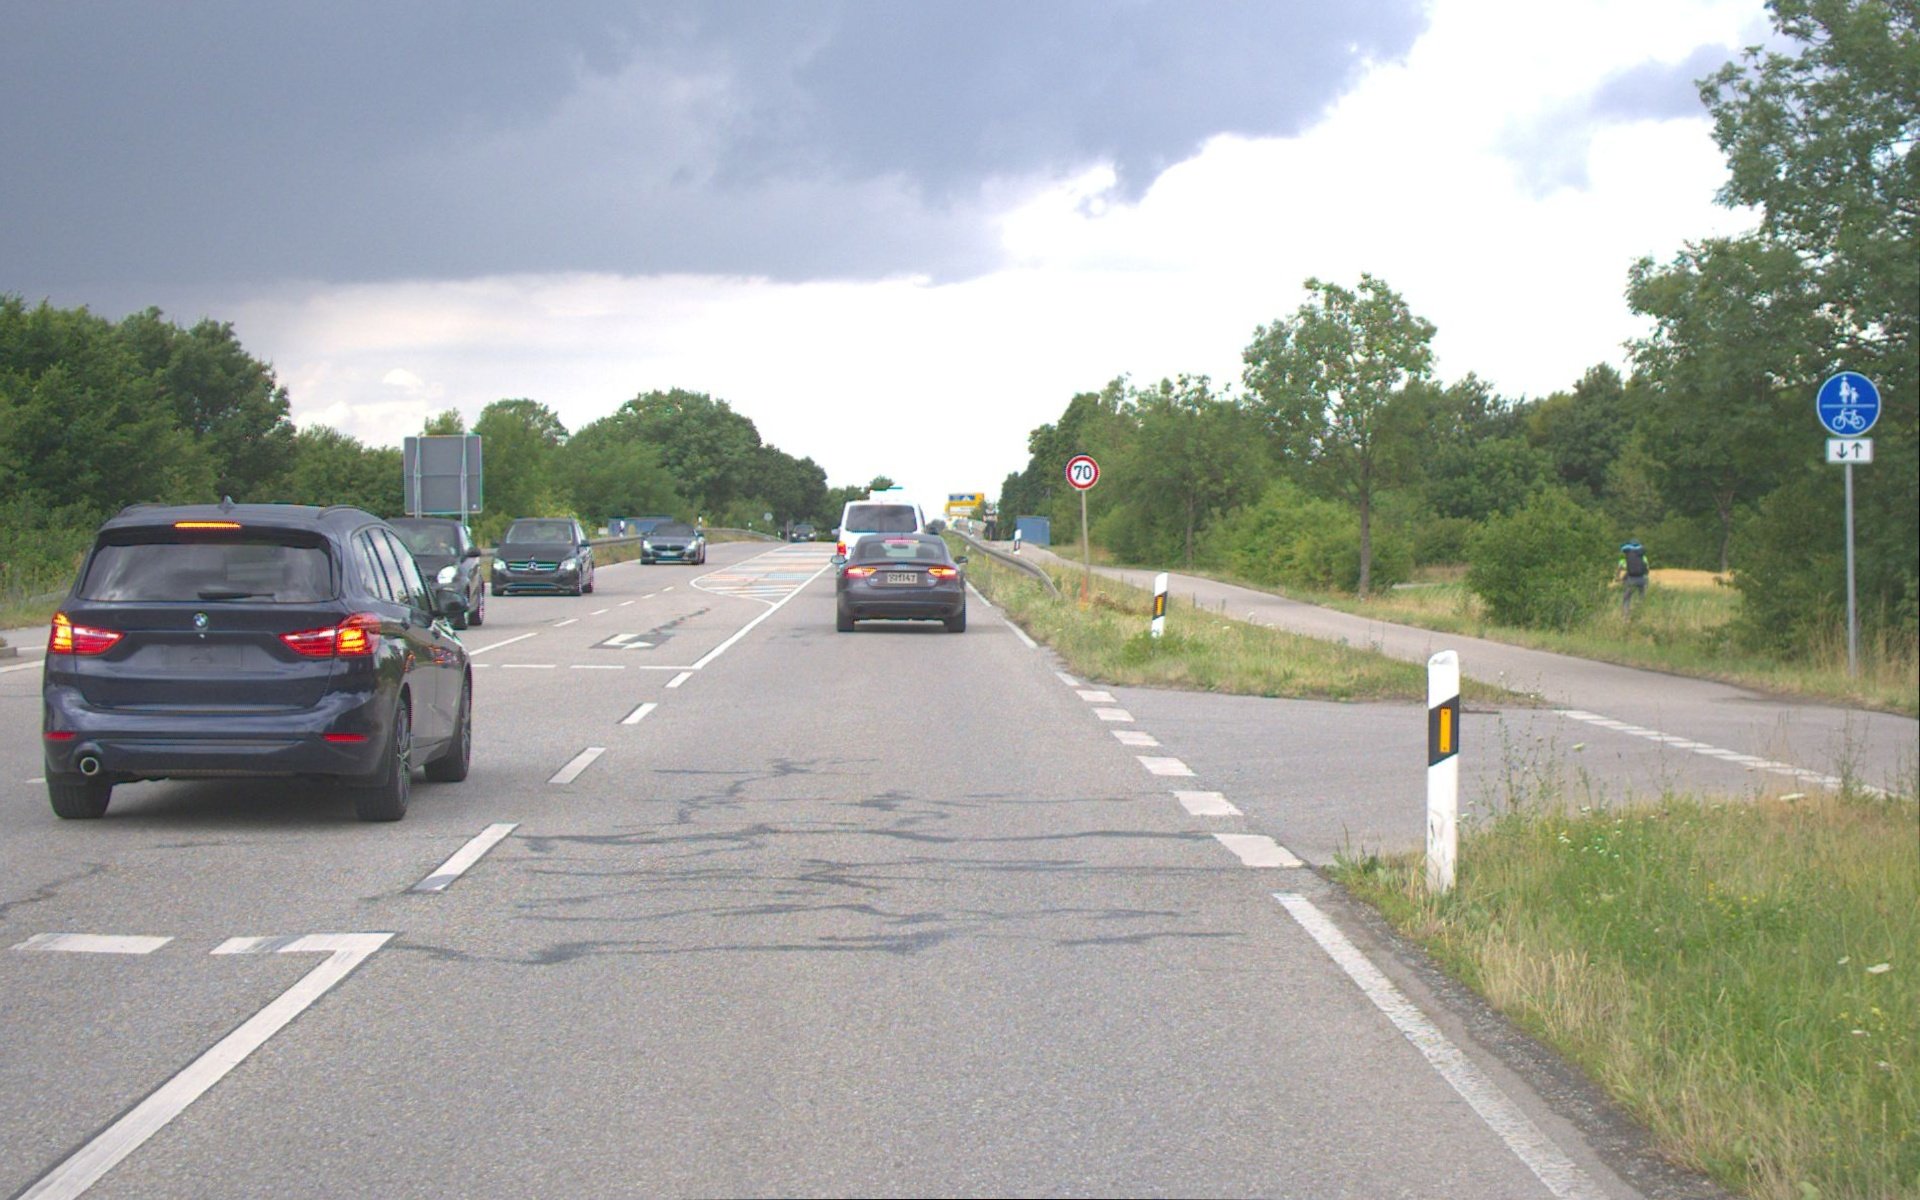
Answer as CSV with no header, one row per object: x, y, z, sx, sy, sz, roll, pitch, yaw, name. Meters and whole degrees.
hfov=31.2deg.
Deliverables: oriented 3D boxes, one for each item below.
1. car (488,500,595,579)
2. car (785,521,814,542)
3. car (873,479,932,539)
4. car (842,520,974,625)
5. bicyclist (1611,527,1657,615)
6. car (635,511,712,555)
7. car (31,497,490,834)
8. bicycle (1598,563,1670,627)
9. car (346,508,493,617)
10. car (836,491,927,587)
-8.425,-1.249,69.413,1.742,1.525,4.199,1,2,-2,car
-11.362,-4.821,242.859,1.862,1.371,4.000,2,0,-1,car
-2.462,-3.910,147.210,2.447,2.495,5.042,1,2,0,car
-0.752,-0.420,49.336,1.785,1.419,4.000,1,1,-1,car
12.251,-0.522,62.480,0.656,1.575,0.744,1,0,-1,bicyclist
-9.108,-2.153,109.628,2.164,1.280,4.238,2,2,-1,car
-3.698,0.270,18.913,1.702,1.605,4.483,1,1,-2,car
12.251,-0.098,62.556,0.656,1.134,2.831,1,0,-1,bicycle
-7.634,-0.553,48.800,1.661,1.478,3.169,0,1,-1,car
-1.598,-1.254,70.636,1.785,1.883,4.000,1,1,-1,car
